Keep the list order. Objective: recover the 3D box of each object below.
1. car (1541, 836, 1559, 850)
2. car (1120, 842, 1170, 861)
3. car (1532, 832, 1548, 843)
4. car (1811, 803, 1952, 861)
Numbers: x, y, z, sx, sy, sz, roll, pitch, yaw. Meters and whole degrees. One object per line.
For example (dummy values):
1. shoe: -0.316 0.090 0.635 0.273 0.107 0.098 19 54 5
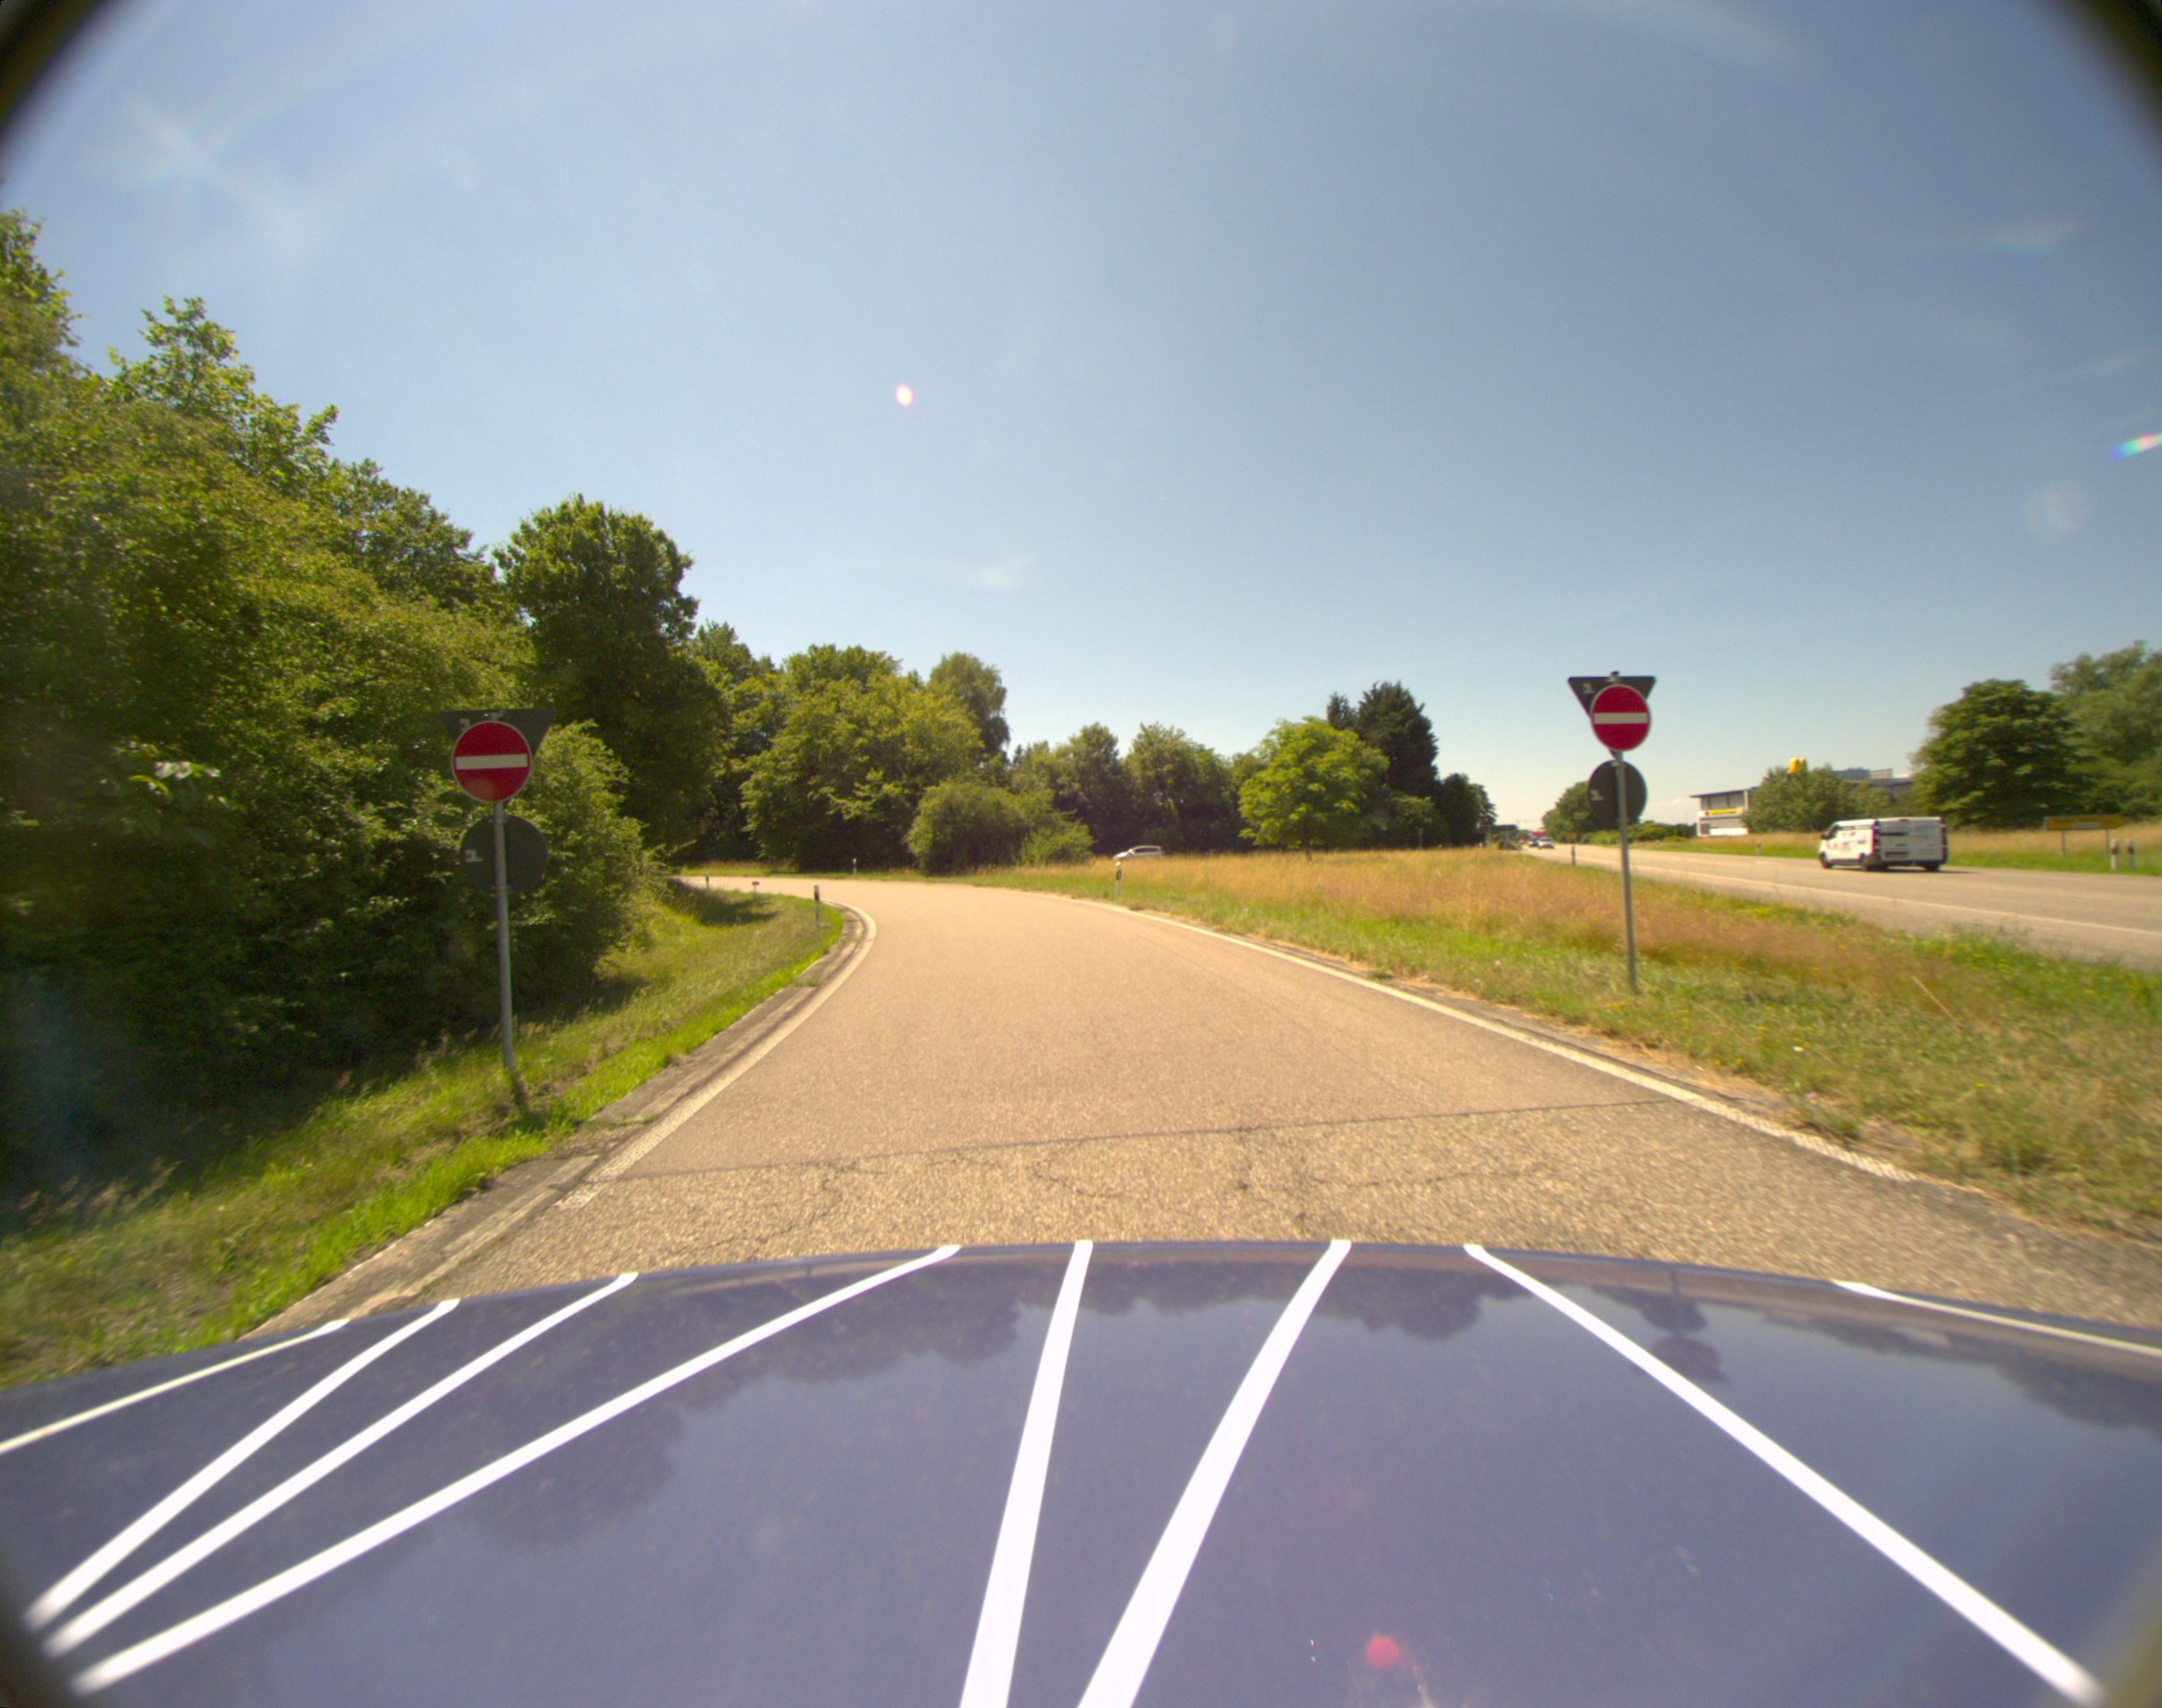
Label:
1. car: 65.680 -1.527 106.461 1.910 1.949 4.465 -1 -1 27
2. car: 5.264 -0.198 62.747 3.996 1.586 1.857 0 0 2
3. car: 75.078 -2.692 124.314 1.910 1.771 4.465 -1 -1 27
4. car: 30.026 -0.736 28.750 1.910 1.949 5.404 -1 -1 26
